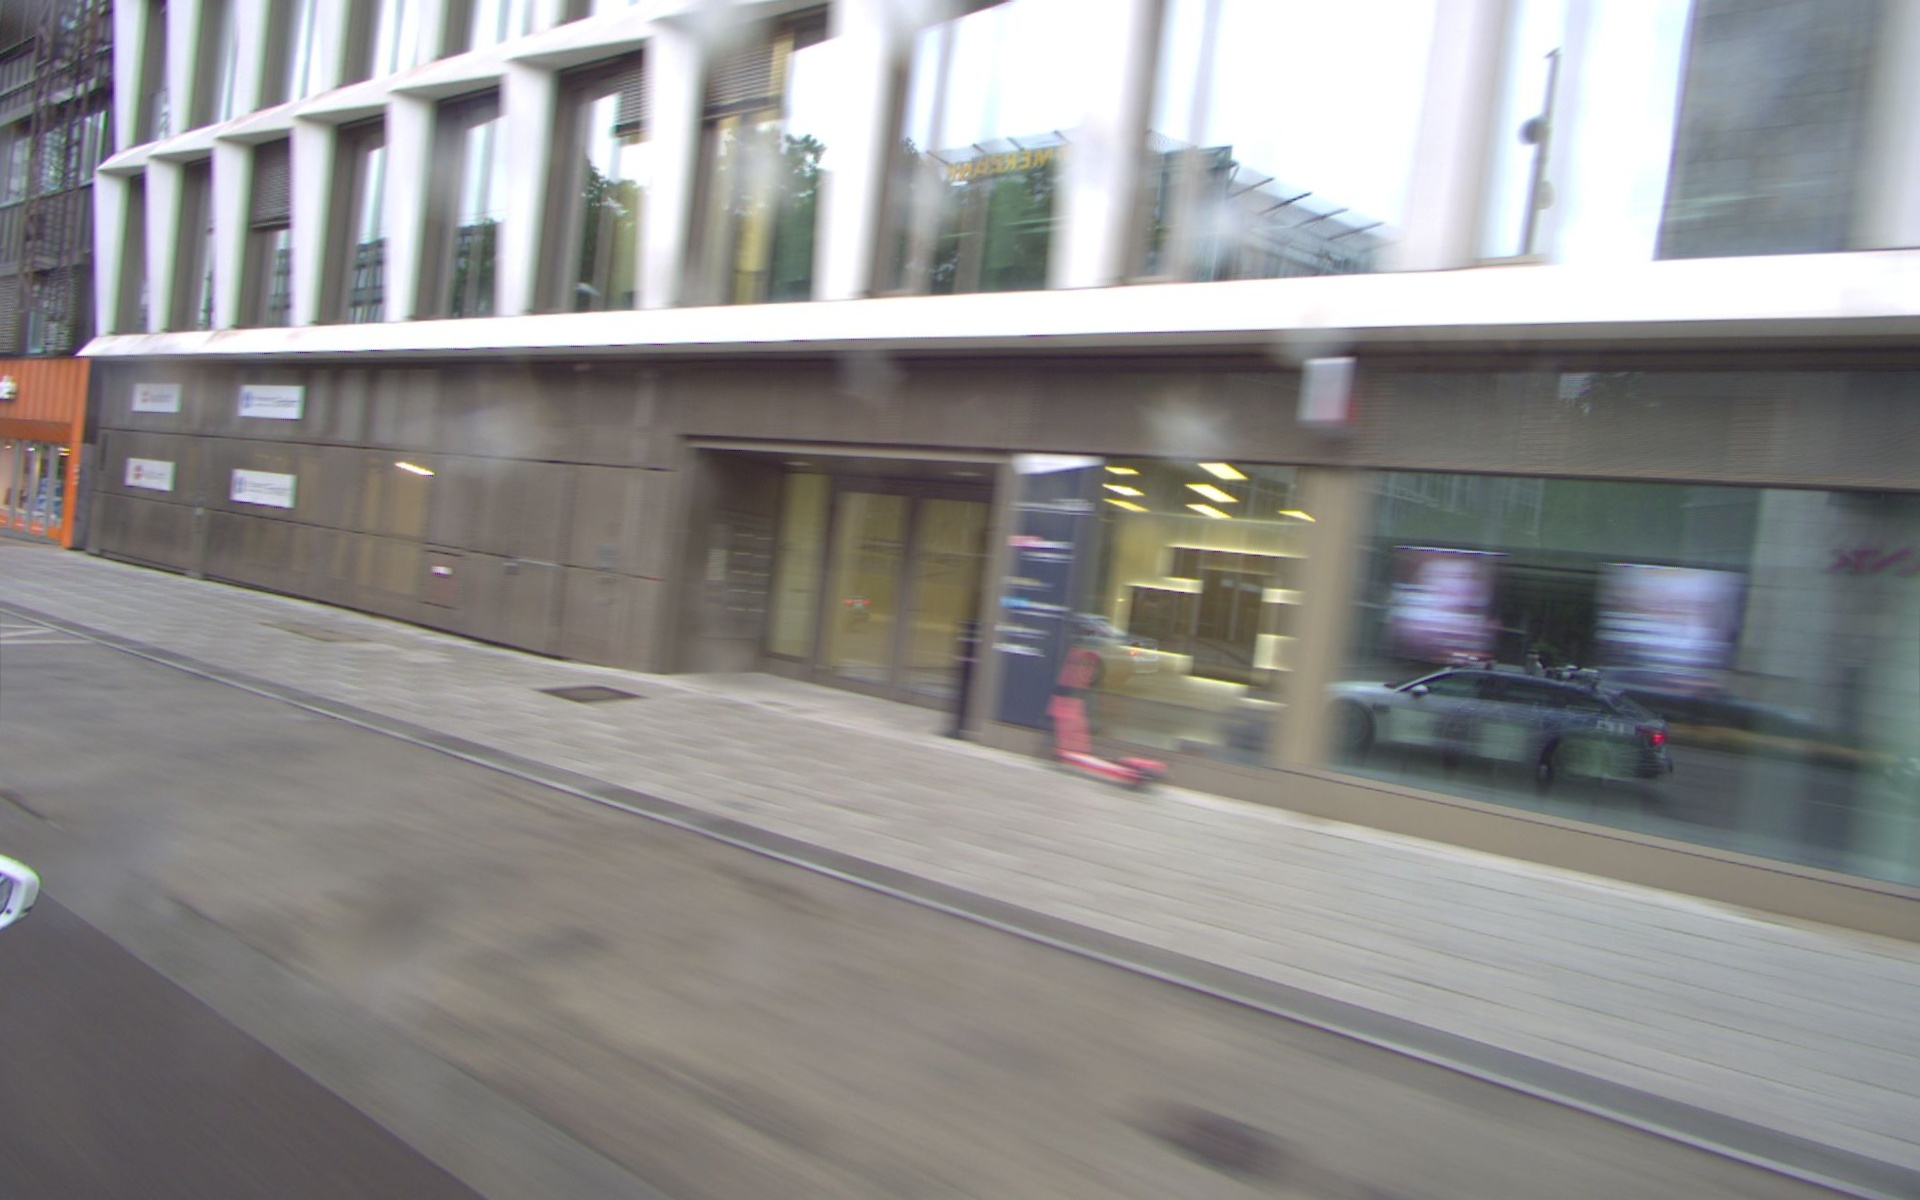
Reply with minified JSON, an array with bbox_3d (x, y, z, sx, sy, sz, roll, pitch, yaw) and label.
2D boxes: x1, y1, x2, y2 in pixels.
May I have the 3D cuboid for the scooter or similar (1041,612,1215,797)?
[{"bbox_3d":[1.293,0.783,7.868,1.172,1.251,0.411,7,1,40],"label":"scooter or similar"}]
